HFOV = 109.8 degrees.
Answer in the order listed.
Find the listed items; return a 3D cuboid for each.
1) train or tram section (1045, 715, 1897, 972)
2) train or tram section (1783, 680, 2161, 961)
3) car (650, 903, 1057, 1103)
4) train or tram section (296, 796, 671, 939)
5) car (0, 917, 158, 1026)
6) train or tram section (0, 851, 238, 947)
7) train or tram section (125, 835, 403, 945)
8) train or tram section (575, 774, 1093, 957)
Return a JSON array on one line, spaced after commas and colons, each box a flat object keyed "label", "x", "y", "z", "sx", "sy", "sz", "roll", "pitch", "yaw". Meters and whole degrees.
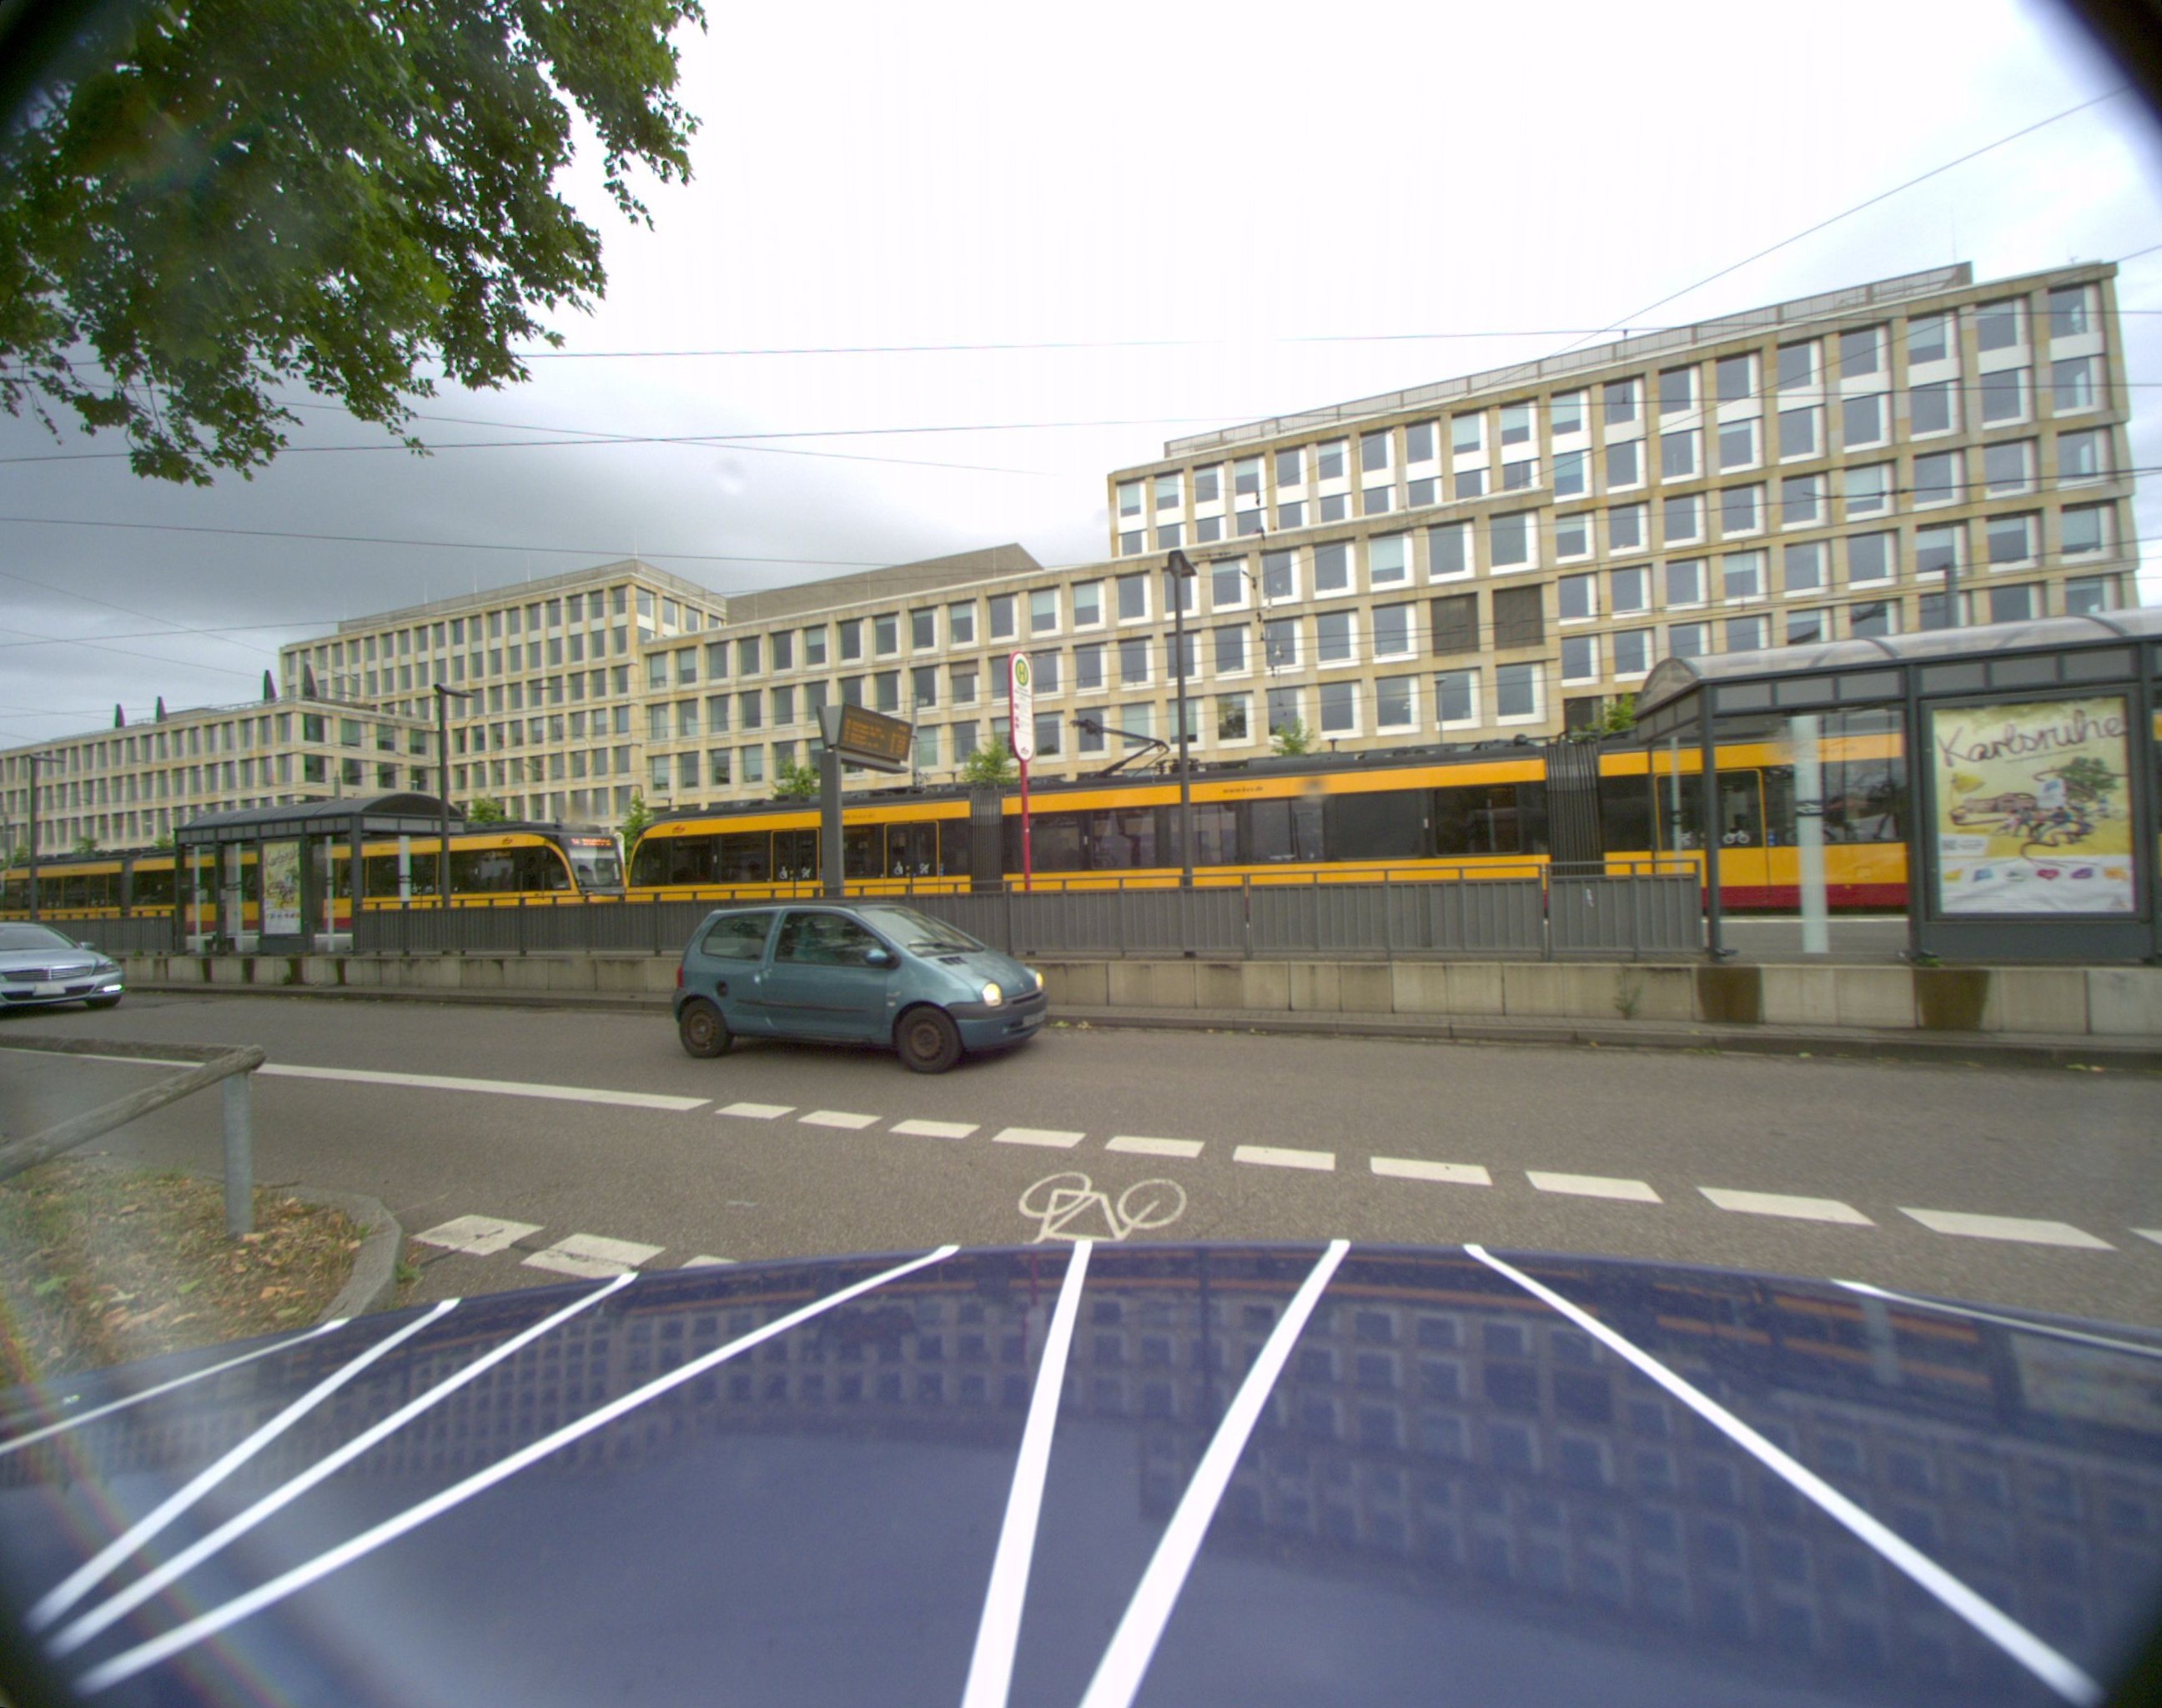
[{"label": "train or tram section", "x": 6.706, "y": 0.061, "z": 16.209, "sx": 14.702, "sy": 4.153, "sz": 3.196, "roll": -2, "pitch": -1, "yaw": 19}, {"label": "train or tram section", "x": 20.591, "y": -0.605, "z": 11.341, "sx": 14.702, "sy": 4.153, "sz": 3.196, "roll": -2, "pitch": -1, "yaw": 19}, {"label": "car", "x": -2.080, "y": 1.222, "z": 7.060, "sx": 3.346, "sy": 1.463, "sz": 1.538, "roll": -2, "pitch": -2, "yaw": 20}, {"label": "train or tram section", "x": -20.545, "y": 0.607, "z": 25.880, "sx": 13.591, "sy": 4.153, "sz": 3.196, "roll": -2, "pitch": -1, "yaw": 19}, {"label": "car", "x": -17.041, "y": 1.774, "z": 11.888, "sx": 4.091, "sy": 1.443, "sz": 2.003, "roll": -2, "pitch": -1, "yaw": 19}, {"label": "train or tram section", "x": -42.957, "y": 1.979, "z": 33.728, "sx": 11.287, "sy": 3.838, "sz": 3.253, "roll": -2, "pitch": -1, "yaw": 19}, {"label": "train or tram section", "x": -32.285, "y": 1.450, "z": 29.974, "sx": 11.287, "sy": 3.838, "sz": 3.179, "roll": -2, "pitch": -1, "yaw": 19}, {"label": "train or tram section", "x": -7.200, "y": 0.501, "z": 21.159, "sx": 14.702, "sy": 4.153, "sz": 3.196, "roll": -2, "pitch": -1, "yaw": 19}]
